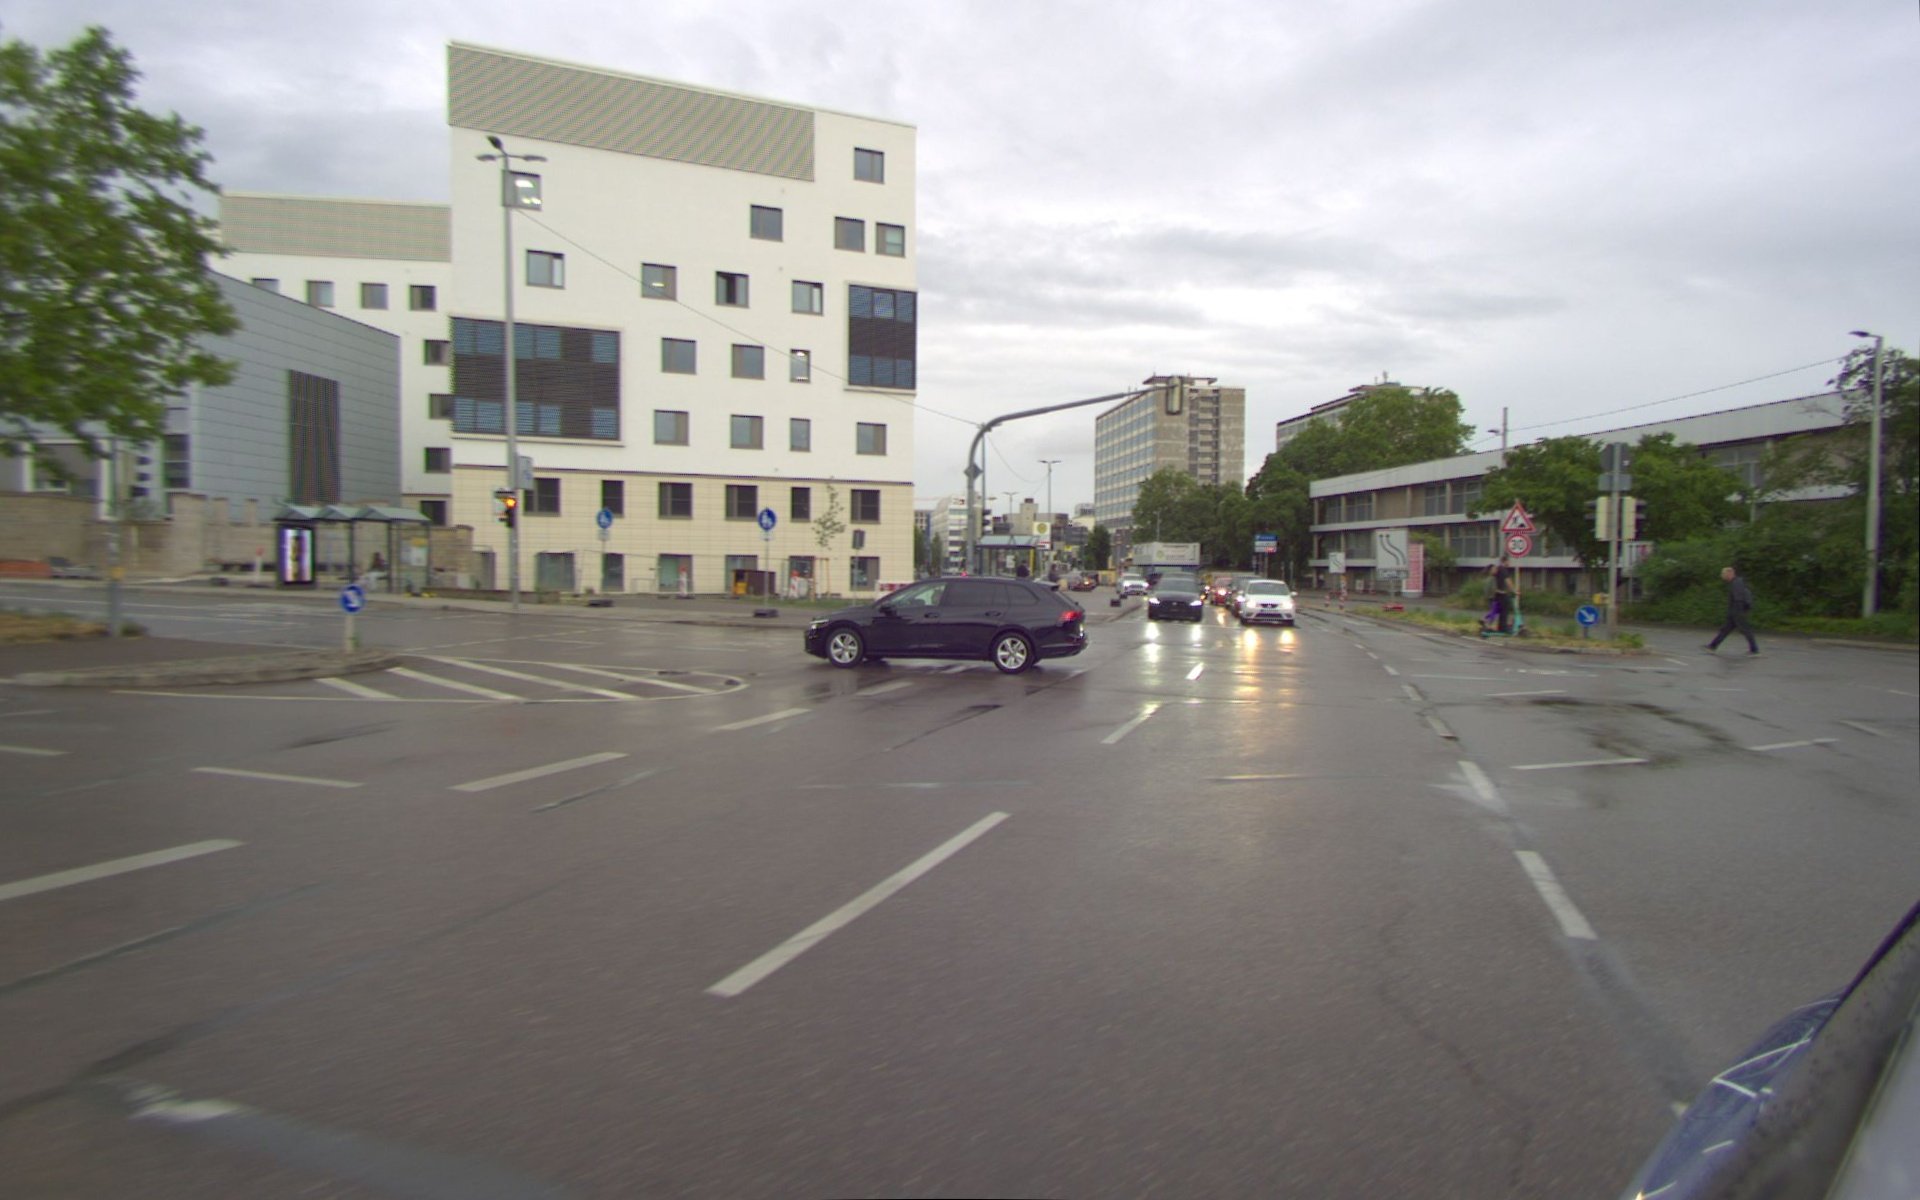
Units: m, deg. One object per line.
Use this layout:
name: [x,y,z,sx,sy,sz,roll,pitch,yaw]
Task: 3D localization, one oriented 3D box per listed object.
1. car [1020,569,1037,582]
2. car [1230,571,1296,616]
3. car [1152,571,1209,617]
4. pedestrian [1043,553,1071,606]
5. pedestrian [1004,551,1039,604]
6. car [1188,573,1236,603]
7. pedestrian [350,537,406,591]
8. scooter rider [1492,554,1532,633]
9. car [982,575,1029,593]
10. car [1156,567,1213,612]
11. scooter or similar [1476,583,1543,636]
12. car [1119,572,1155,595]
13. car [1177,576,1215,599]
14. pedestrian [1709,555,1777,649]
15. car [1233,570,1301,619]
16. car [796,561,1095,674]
car: [10.299,-3.707,152.338,1.762,1.726,4.695,2,2,-5]
car: [11.598,-0.281,38.991,1.936,1.576,4.514,2,1,11]
car: [7.601,-0.195,34.989,1.770,1.462,3.985,2,0,12]
pedestrian: [3.460,-0.710,36.152,0.812,1.863,0.949,1,0,16]
pedestrian: [2.323,-0.852,38.249,0.948,1.960,0.992,0,-1,37]
car: [13.300,-0.623,53.710,1.933,1.468,4.151,2,0,7]
pedestrian: [-19.140,-1.169,33.292,1.006,1.741,1.250,1,0,25]
scooter rider: [13.490,-0.163,24.741,0.621,1.907,0.724,1,-1,7]
car: [4.363,-1.523,97.587,4.035,1.577,1.943,2,0,33]
car: [9.028,-0.465,40.978,1.967,1.685,4.377,2,2,9]
scooter or similar: [13.417,0.229,24.742,1.291,1.254,0.592,1,0,6]
car: [13.744,-1.254,78.929,1.929,1.722,4.160,2,0,-1]
car: [16.392,-0.874,70.498,1.932,1.468,4.154,2,0,4]
pedestrian: [16.561,0.036,21.422,0.819,1.916,1.021,1,0,18]
car: [10.083,-0.169,33.512,1.770,1.462,3.985,2,0,12]
car: [-0.179,0.218,16.015,4.443,1.484,1.670,3,2,12]
